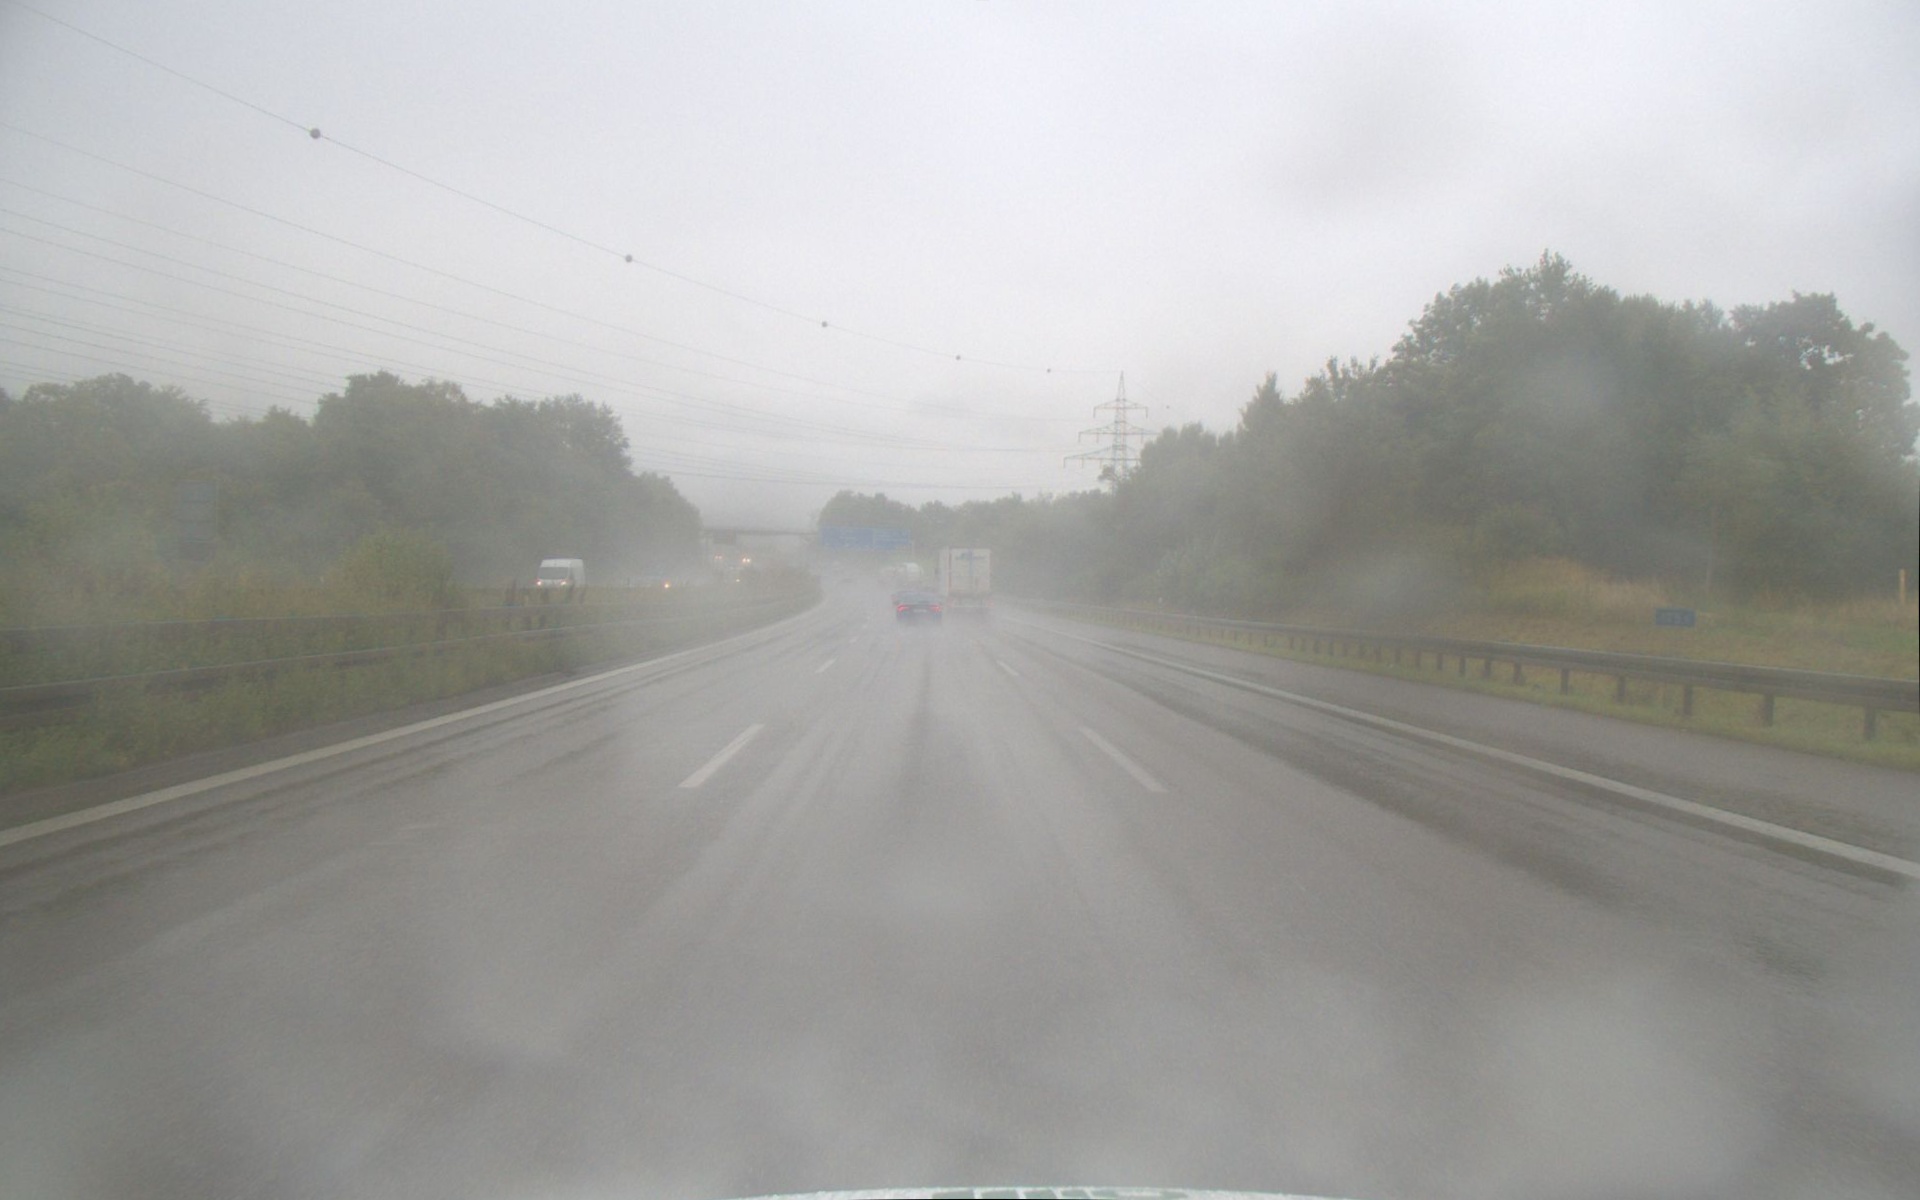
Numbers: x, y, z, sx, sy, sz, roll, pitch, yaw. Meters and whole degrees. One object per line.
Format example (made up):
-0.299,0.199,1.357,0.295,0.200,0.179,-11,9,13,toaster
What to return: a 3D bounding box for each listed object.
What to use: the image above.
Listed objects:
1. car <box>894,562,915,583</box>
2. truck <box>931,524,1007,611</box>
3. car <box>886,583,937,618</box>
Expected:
-6.401,-3.212,190.736,2.345,2.312,5.000,3,1,-3,car
0.766,-2.016,105.730,4.168,5.059,17.347,0,1,3,truck
-1.840,0.007,63.586,1.713,1.233,4.001,3,0,1,car
